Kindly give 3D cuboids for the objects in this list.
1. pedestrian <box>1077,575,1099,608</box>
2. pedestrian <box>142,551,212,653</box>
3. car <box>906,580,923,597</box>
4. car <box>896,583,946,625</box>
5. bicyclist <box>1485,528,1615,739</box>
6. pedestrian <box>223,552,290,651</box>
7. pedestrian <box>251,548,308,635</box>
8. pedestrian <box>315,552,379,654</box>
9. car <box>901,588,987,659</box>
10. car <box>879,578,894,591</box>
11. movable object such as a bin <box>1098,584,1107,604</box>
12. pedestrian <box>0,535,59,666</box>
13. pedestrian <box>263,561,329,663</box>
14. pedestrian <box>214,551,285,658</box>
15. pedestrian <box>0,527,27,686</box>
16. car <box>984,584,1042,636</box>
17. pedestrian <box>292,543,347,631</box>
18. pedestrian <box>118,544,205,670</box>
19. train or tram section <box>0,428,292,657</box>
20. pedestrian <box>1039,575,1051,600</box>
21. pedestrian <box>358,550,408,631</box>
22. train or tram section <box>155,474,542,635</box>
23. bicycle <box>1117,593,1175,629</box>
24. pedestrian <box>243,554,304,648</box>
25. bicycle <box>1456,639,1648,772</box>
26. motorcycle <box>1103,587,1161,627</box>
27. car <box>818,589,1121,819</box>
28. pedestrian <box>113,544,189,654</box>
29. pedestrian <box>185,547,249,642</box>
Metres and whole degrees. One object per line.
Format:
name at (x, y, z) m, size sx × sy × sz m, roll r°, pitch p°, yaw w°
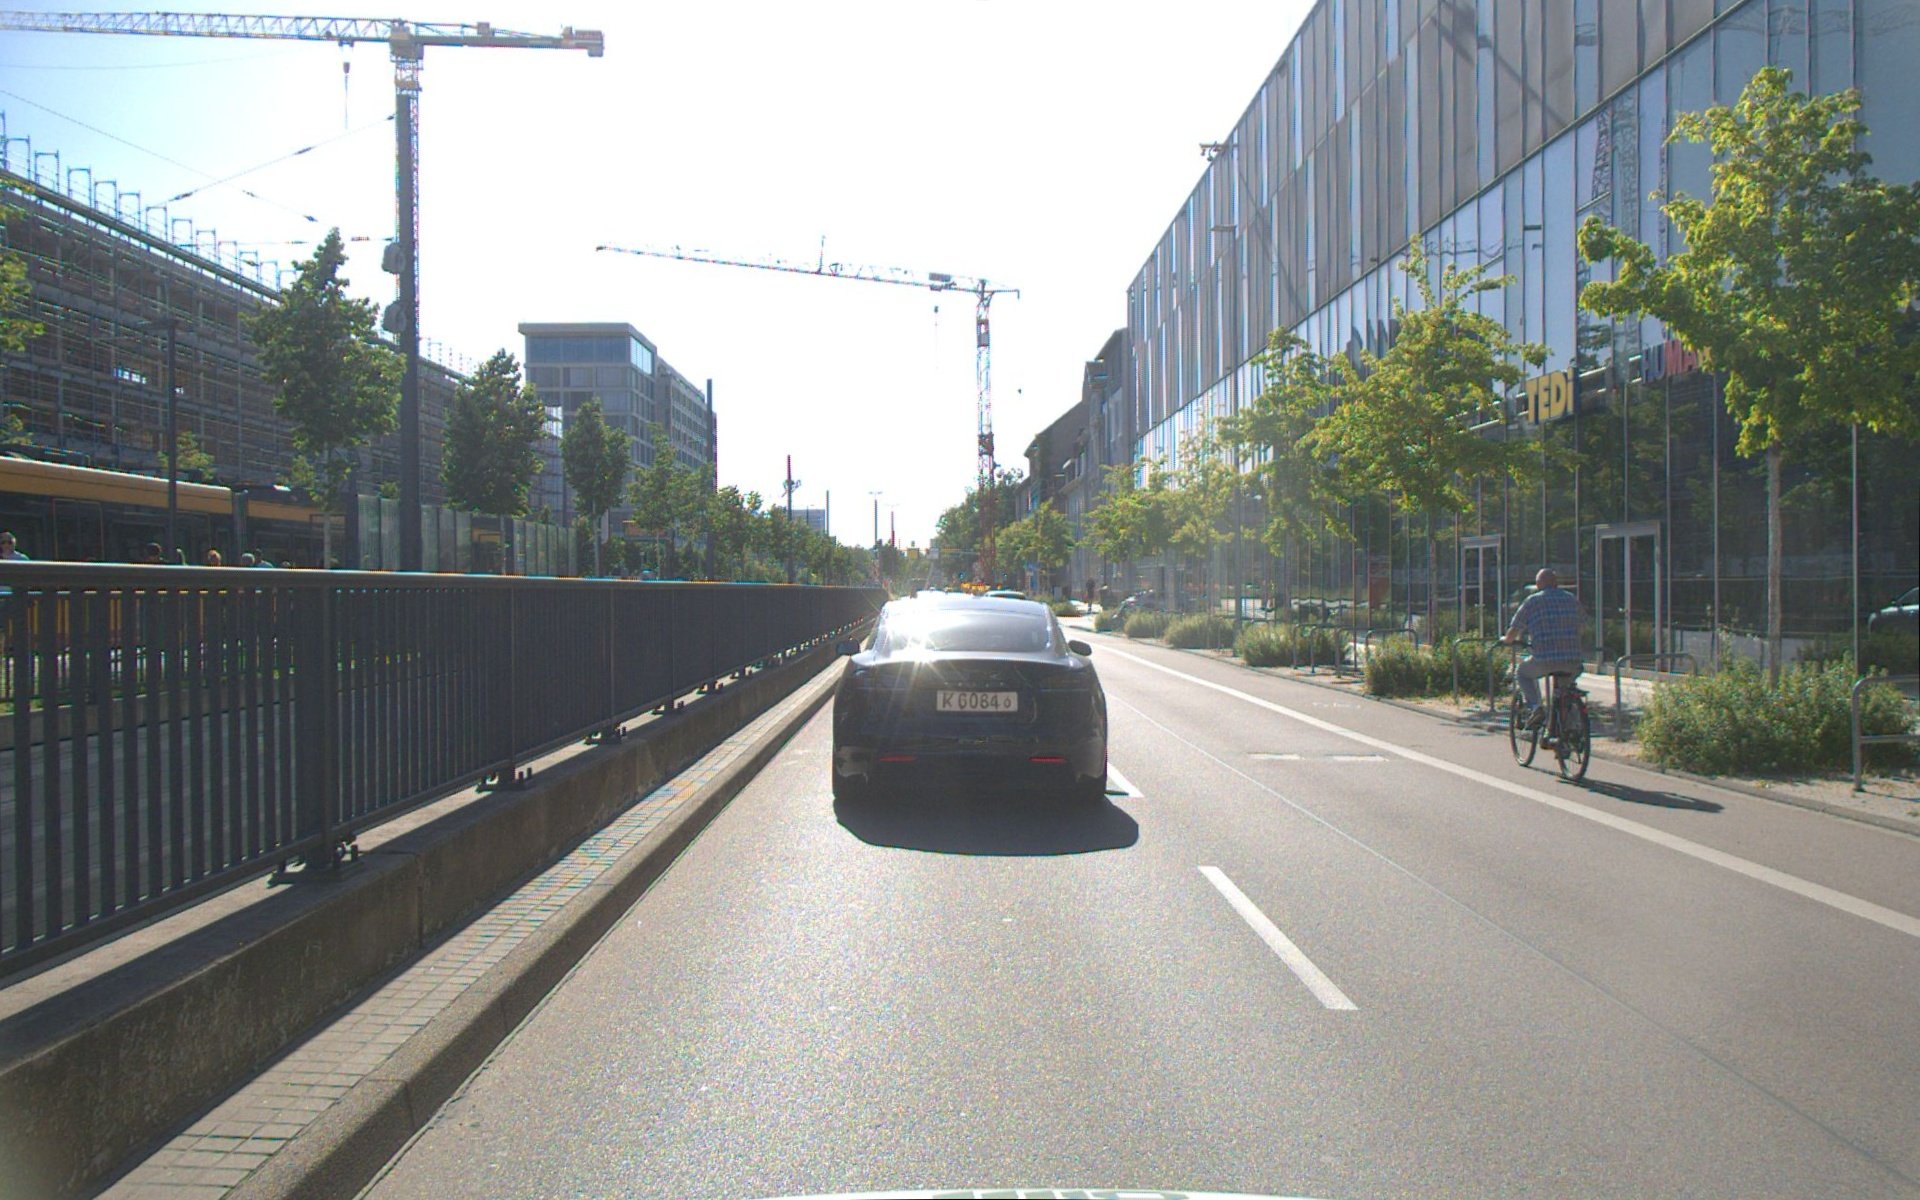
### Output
pedestrian at (7.357, -0.479, 95.292) m, size 1.073 × 1.896 × 1.522 m, roll -1°, pitch 0°, yaw -2°
pedestrian at (-12.922, 0.032, 27.323) m, size 0.726 × 1.657 × 0.861 m, roll 0°, pitch 0°, yaw 0°
car at (-5.032, -1.283, 184.642) m, size 1.776 × 1.841 × 4.039 m, roll 0°, pitch 1°, yaw 0°
car at (-1.579, 0.151, 68.306) m, size 1.849 × 1.624 × 4.001 m, roll -1°, pitch 1°, yaw 2°
bicyclist at (5.129, 0.279, 14.426) m, size 0.710 × 1.767 × 0.997 m, roll -1°, pitch 0°, yaw -4°
pedestrian at (-11.966, 0.024, 28.158) m, size 0.726 × 1.657 × 0.947 m, roll 0°, pitch 0°, yaw 0°
pedestrian at (-13.123, -0.167, 31.931) m, size 0.726 × 1.657 × 0.861 m, roll 0°, pitch 0°, yaw 0°
pedestrian at (-10.193, 0.043, 27.506) m, size 0.726 × 1.657 × 0.861 m, roll 0°, pitch 0°, yaw 0°
car at (-0.310, 0.446, 34.545) m, size 1.681 × 1.343 × 4.000 m, roll 0°, pitch 1°, yaw 0°
car at (-9.820, -2.070, 221.831) m, size 1.953 × 1.713 × 3.998 m, roll 1°, pitch 0°, yaw -2°
movable object such as a bin at (8.555, -0.359, 99.354) m, size 0.547 × 1.189 × 0.562 m, roll 1°, pitch 0°, yaw 3°
pedestrian at (-12.697, 0.002, 22.195) m, size 0.726 × 1.724 × 0.861 m, roll 0°, pitch 0°, yaw 0°
pedestrian at (-10.986, 0.192, 27.394) m, size 0.726 × 1.657 × 0.861 m, roll 0°, pitch 0°, yaw 0°
pedestrian at (-11.255, 0.065, 26.224) m, size 0.726 × 1.657 × 0.861 m, roll 0°, pitch 0°, yaw 0°
pedestrian at (-11.796, 0.077, 19.633) m, size 0.869 × 1.883 × 1.007 m, roll 0°, pitch 0°, yaw -1°
car at (1.675, 0.299, 53.295) m, size 1.748 × 1.573 × 4.039 m, roll 0°, pitch 1°, yaw 0°
pedestrian at (-12.354, -0.254, 31.919) m, size 0.726 × 1.657 × 0.861 m, roll 0°, pitch 0°, yaw 0°
pedestrian at (-10.739, 0.089, 22.270) m, size 0.726 × 1.657 × 0.861 m, roll 0°, pitch 0°, yaw 0°
train or tram section at (-15.430, -0.900, 27.301) m, size 2.812 × 3.336 × 15.183 m, roll 1°, pitch 1°, yaw -1°
pedestrian at (6.518, -0.992, 127.079) m, size 0.834 × 1.896 × 0.929 m, roll -1°, pitch 0°, yaw -2°
pedestrian at (-11.922, -0.199, 34.191) m, size 0.726 × 1.657 × 0.861 m, roll 0°, pitch 0°, yaw 0°
train or tram section at (-15.727, -1.095, 46.027) m, size 2.812 × 3.336 × 22.140 m, roll 1°, pitch 1°, yaw -1°
bicycle at (6.461, 0.384, 57.506) m, size 1.848 × 1.171 × 0.670 m, roll -2°, pitch 0°, yaw -11°
pedestrian at (-12.271, 0.009, 29.588) m, size 0.726 × 1.657 × 0.861 m, roll 0°, pitch 0°, yaw 0°
bicycle at (5.149, 0.880, 14.566) m, size 0.714 × 1.001 × 2.331 m, roll 0°, pitch 0°, yaw -4°
motorcycle at (6.467, 0.271, 62.146) m, size 2.030 × 1.377 × 0.652 m, roll -3°, pitch 0°, yaw 22°
car at (0.133, 0.659, 12.929) m, size 1.958 × 1.459 × 4.414 m, roll 0°, pitch 1°, yaw 2°
pedestrian at (-12.442, -0.014, 25.460) m, size 0.726 × 1.657 × 0.861 m, roll 0°, pitch 0°, yaw 0°
pedestrian at (-13.168, -0.101, 29.318) m, size 0.726 × 1.657 × 0.861 m, roll 0°, pitch 0°, yaw 0°
